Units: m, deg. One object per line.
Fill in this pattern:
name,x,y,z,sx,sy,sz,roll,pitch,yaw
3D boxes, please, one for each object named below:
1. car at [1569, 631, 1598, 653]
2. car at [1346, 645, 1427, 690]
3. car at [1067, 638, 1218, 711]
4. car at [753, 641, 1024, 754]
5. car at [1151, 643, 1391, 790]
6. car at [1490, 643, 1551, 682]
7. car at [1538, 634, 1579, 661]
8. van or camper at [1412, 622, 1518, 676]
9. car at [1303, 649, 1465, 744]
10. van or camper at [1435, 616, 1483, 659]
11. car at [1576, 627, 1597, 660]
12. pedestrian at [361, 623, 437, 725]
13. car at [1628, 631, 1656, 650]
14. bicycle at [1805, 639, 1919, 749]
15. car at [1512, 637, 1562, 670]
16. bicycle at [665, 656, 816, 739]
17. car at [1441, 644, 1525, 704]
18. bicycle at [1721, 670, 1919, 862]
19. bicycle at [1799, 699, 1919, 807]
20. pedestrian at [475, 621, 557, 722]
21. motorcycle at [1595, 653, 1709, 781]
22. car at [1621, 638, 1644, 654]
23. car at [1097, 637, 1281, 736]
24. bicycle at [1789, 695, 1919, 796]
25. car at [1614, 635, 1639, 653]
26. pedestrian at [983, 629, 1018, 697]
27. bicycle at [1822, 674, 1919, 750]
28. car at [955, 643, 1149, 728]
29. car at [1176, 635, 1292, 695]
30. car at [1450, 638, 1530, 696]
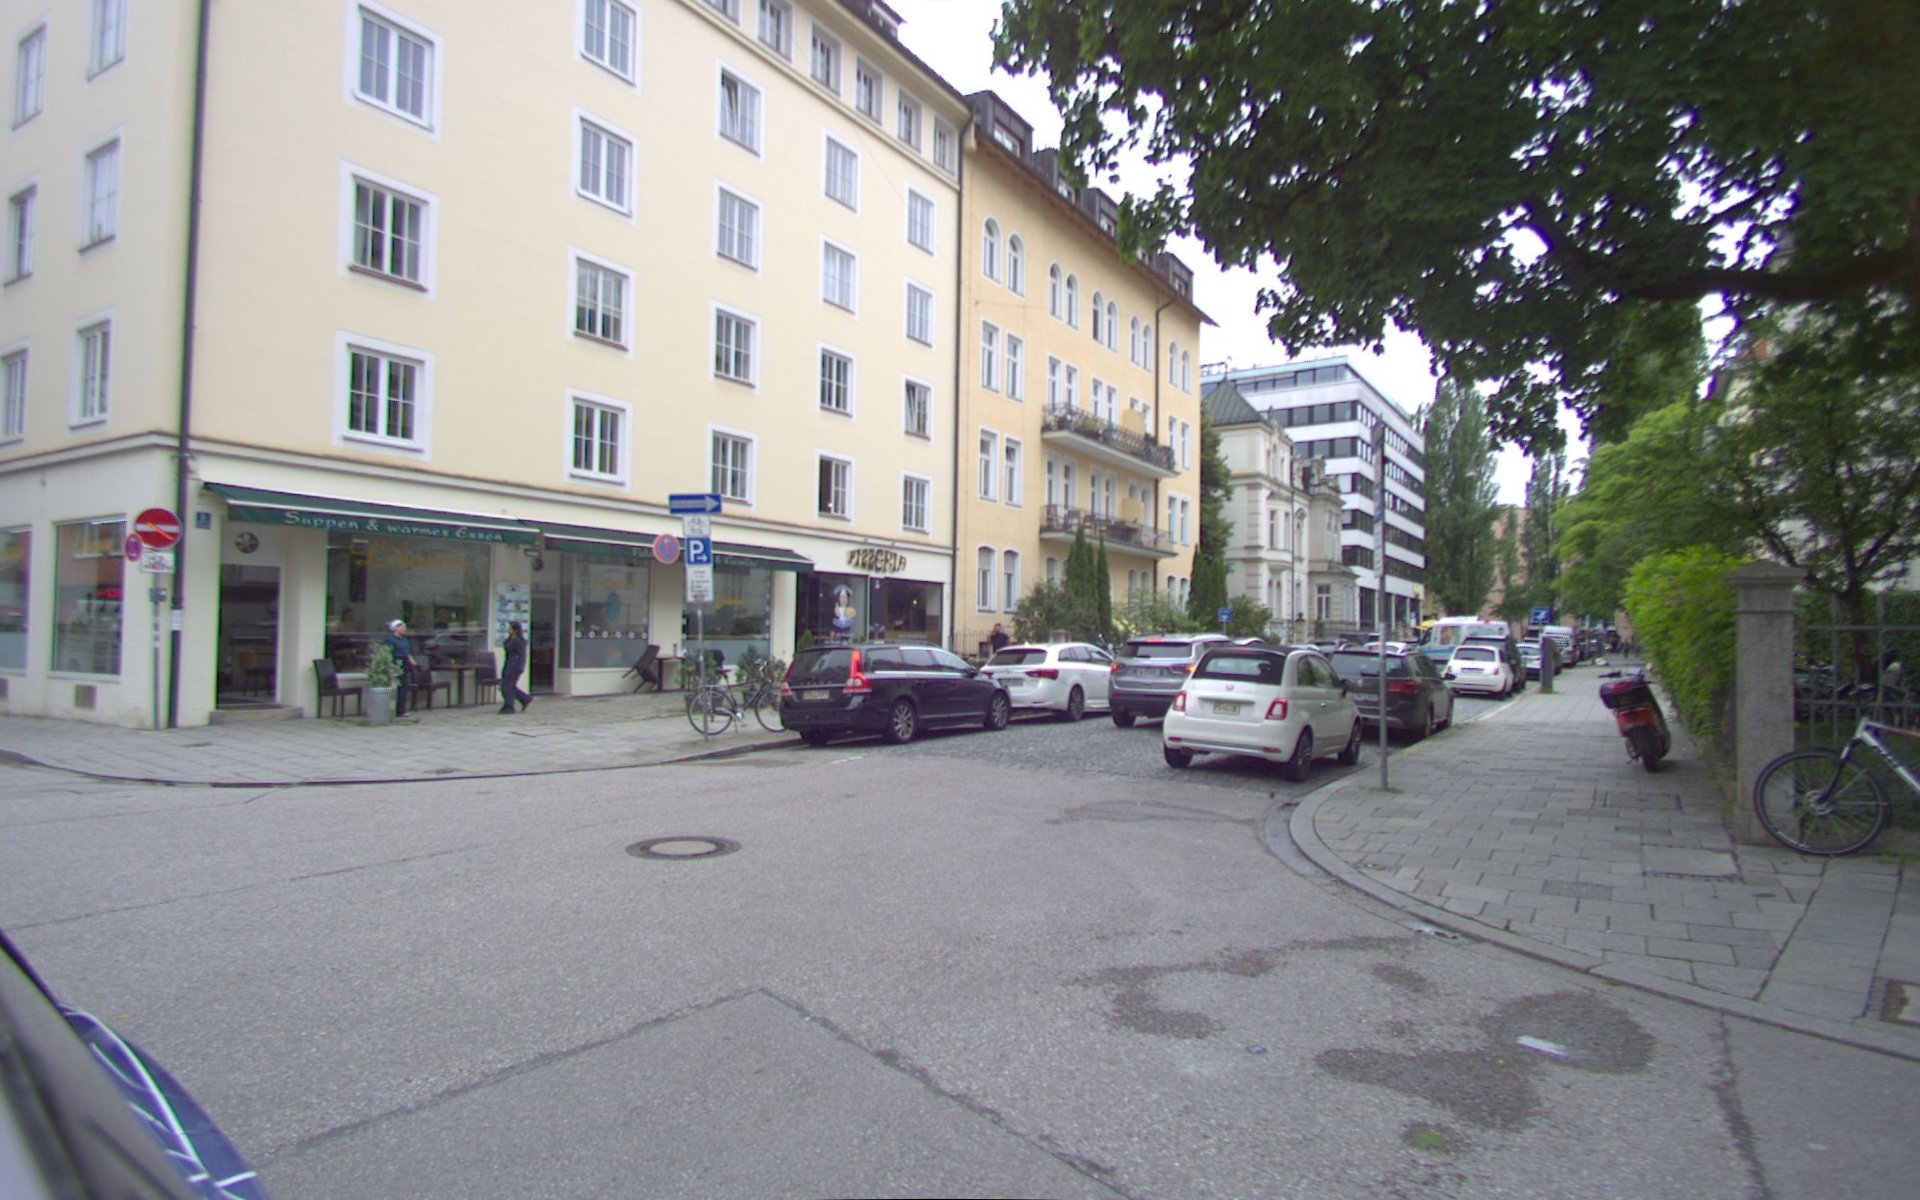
car,51.717,3.501,83.873,1.994,1.796,3.955,-1,-3,32
car,14.302,2.205,33.830,1.776,1.386,4.382,-1,-3,33
car,4.469,1.765,24.275,1.994,1.522,4.383,-6,-6,32
car,-0.971,1.492,16.092,2.022,1.494,4.440,-6,-6,32
car,4.049,1.316,12.734,1.790,1.469,3.953,0,-2,34
car,23.624,2.595,42.605,1.994,1.564,3.955,-1,-3,32
car,36.087,2.851,61.008,1.994,1.564,3.955,-1,-3,32
van or camper,20.476,1.940,41.282,2.070,2.059,4.624,0,-2,1
car,7.252,1.527,17.090,1.790,1.371,3.953,-1,-3,34
van or camper,33.599,2.562,68.087,2.074,2.807,4.370,-2,-4,37
car,73.784,5.128,119.122,1.994,3.694,6.235,-1,-3,32
pedestrian,-9.269,1.211,16.758,0.907,1.623,0.778,1,-3,-17
car,63.911,3.788,94.878,1.994,1.796,3.955,-1,-3,33
bicycle,8.622,0.743,7.770,3.211,0.864,0.798,-1,-3,37
car,28.940,2.642,50.694,1.994,1.564,3.955,-1,-3,32
bicycle,-3.393,1.502,15.709,2.117,1.211,0.813,3,-3,-27
car,15.339,2.087,29.562,1.992,1.564,3.959,-1,-2,30
bicycle,6.622,1.069,6.497,2.638,1.172,0.799,-1,-3,28
bicycle,9.194,1.343,8.514,3.211,0.864,0.810,-1,-3,37
pedestrian,-7.704,1.224,17.566,1.106,1.690,0.873,2,-3,-37
motorcycle,7.939,1.249,11.547,0.813,1.282,2.726,-2,-3,39
car,76.665,5.266,115.390,1.994,1.796,3.955,-1,-3,32
car,4.236,1.459,18.194,1.830,1.534,4.443,-1,-3,33
bicycle,9.691,1.375,9.242,3.211,0.864,0.810,-1,-3,37
car,68.462,4.565,104.023,1.994,1.796,3.955,-1,-3,32
pedestrian,1.110,1.703,27.562,0.847,1.803,0.777,0,-3,10
bicycle,12.301,1.429,12.837,0.844,0.907,1.978,1,-2,-9
car,1.940,1.645,20.012,1.994,1.438,4.383,-6,-6,32
car,8.032,1.867,29.402,1.994,1.522,4.383,-6,-6,32
car,17.550,2.156,33.434,1.994,1.785,3.955,-1,-3,32
